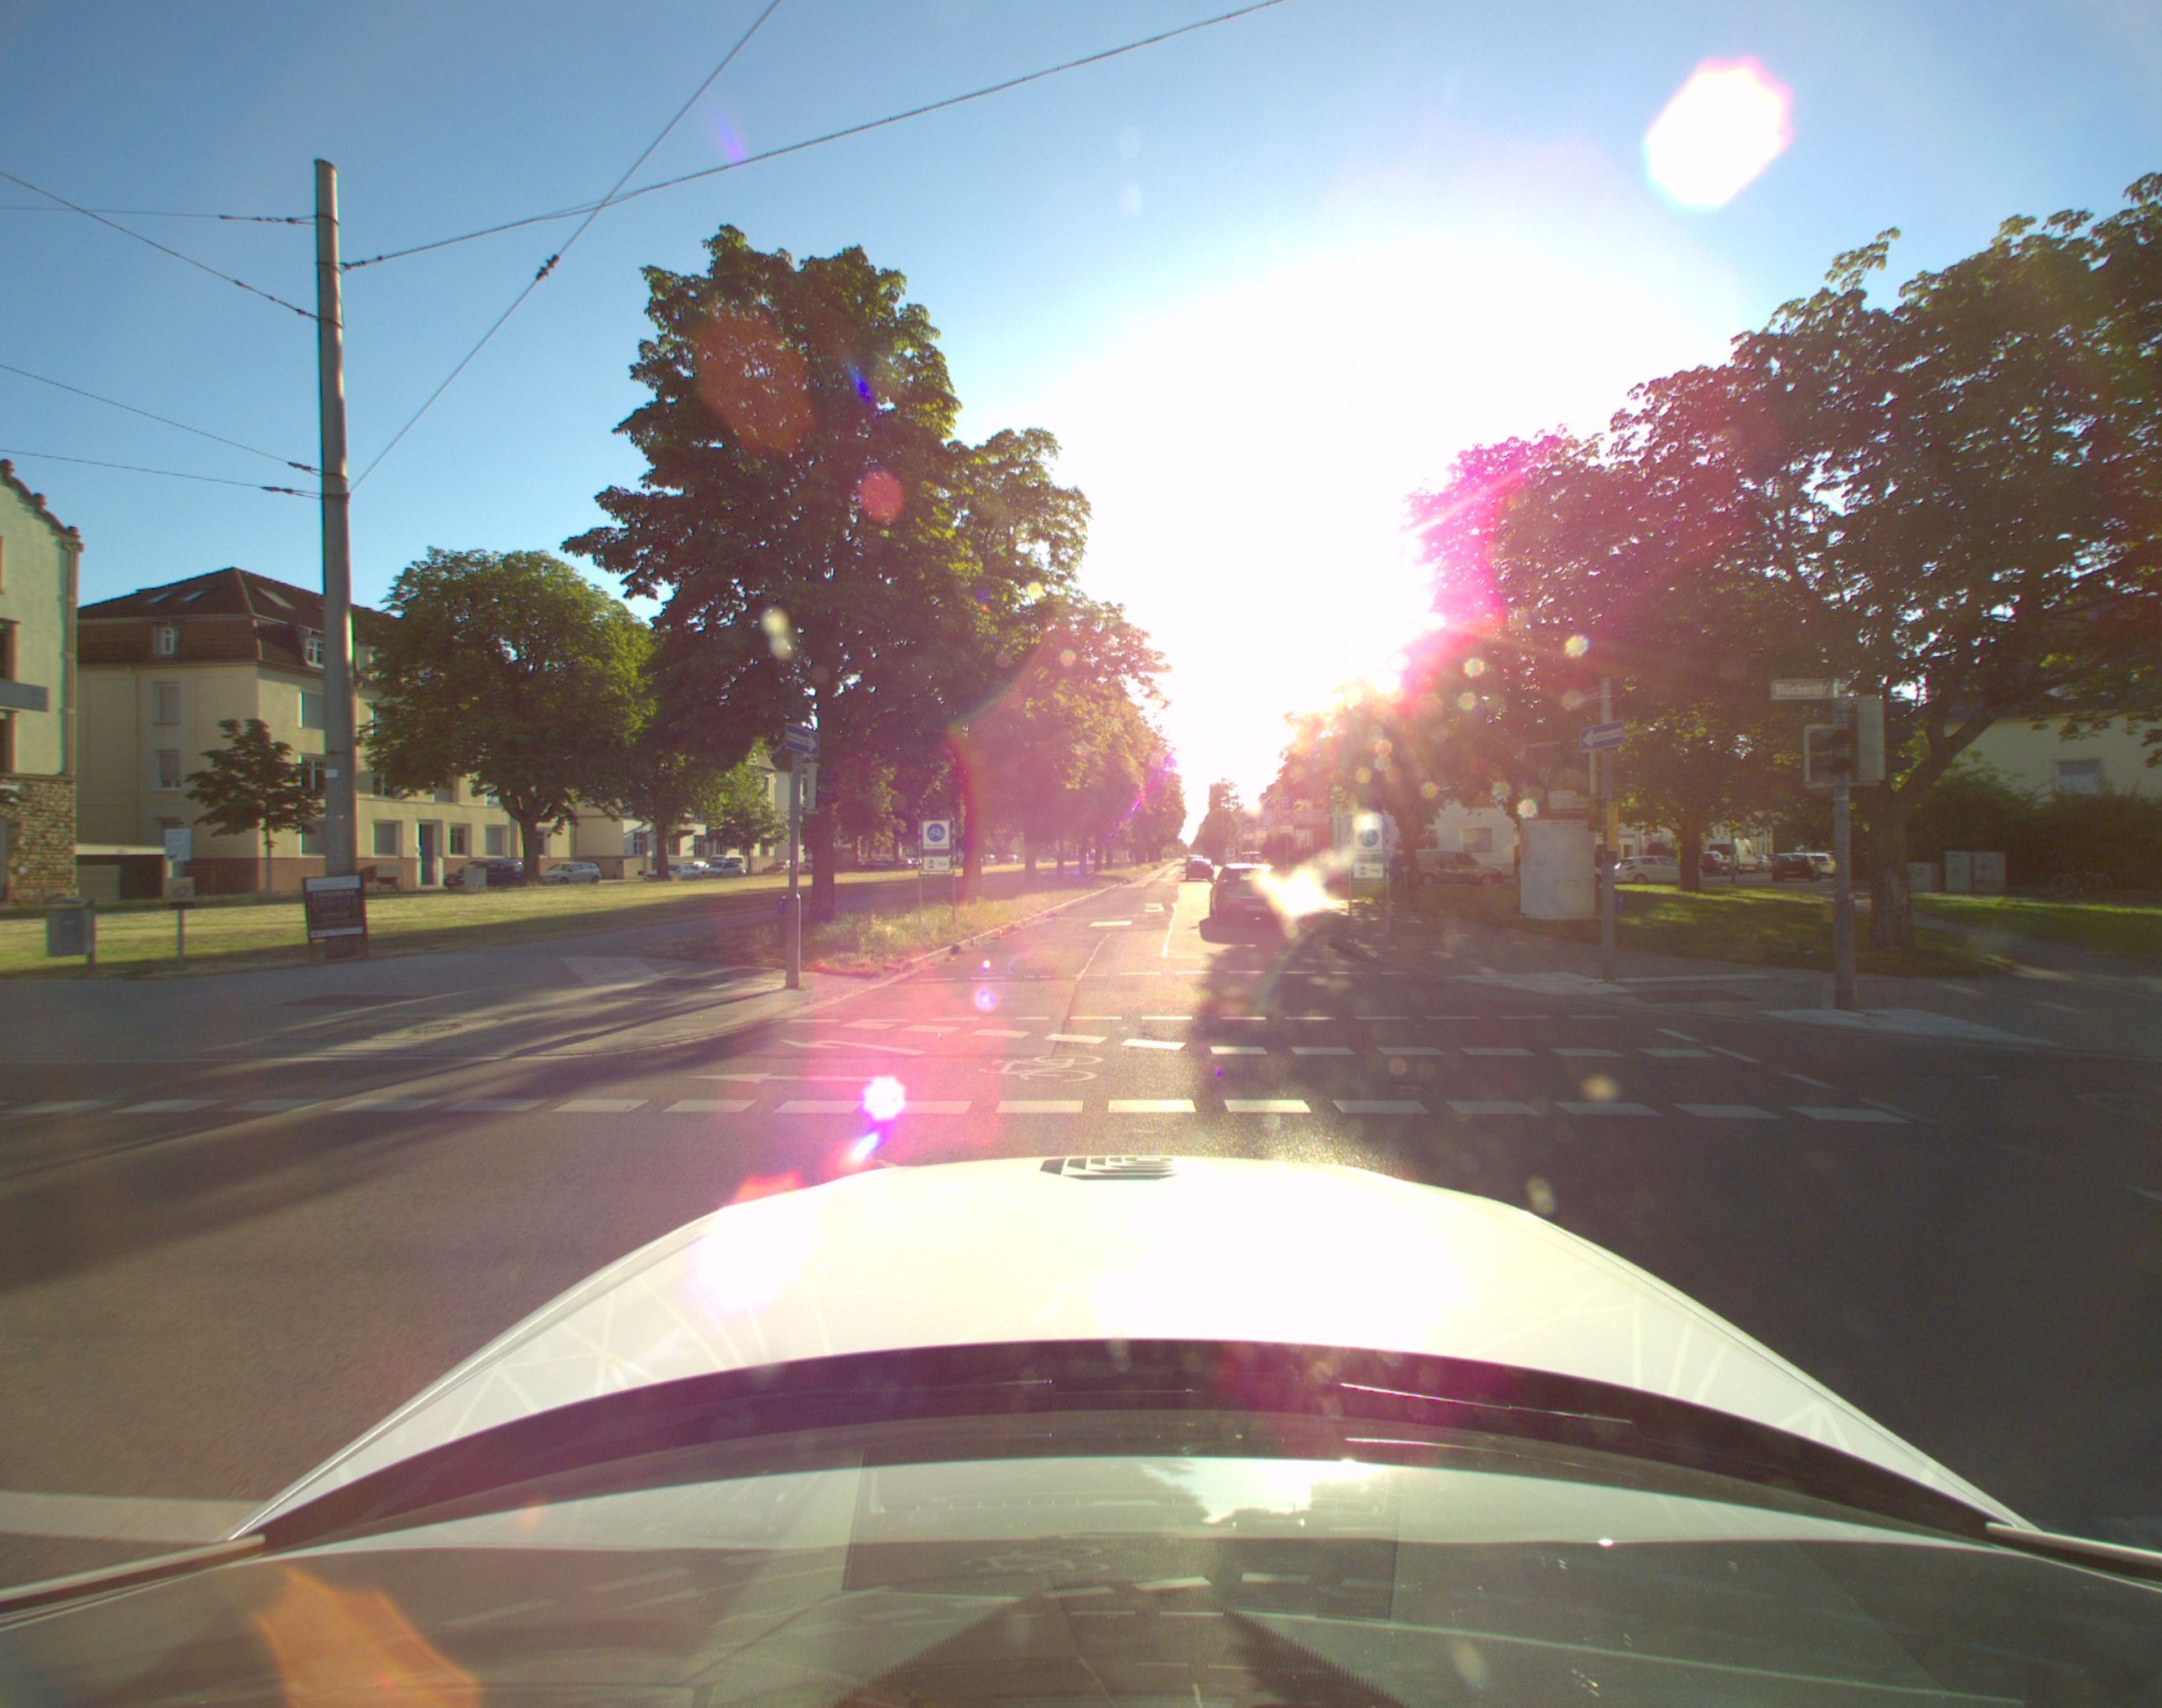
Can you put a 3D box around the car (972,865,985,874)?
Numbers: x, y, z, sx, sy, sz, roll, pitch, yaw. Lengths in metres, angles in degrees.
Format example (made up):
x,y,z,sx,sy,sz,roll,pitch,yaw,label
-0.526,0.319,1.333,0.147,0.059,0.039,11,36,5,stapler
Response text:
x,y,z,sx,sy,sz,roll,pitch,yaw,label
-20.408,3.114,162.046,1.631,1.643,3.860,2,-1,6,car

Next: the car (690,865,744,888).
x,y,z,sx,sy,sz,roll,pitch,yaw,label
-27.965,1.710,62.714,1.787,1.554,4.426,2,0,6,car

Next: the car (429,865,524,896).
x,y,z,sx,sy,sz,roll,pitch,yaw,label
-35.896,1.530,48.515,1.982,1.736,4.322,1,-1,9,car

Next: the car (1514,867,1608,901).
x,y,z,sx,sy,sz,roll,pitch,yaw,label
22.849,1.411,38.831,3.540,1.516,1.606,0,-1,1,car

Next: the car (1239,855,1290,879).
x,y,z,sx,sy,sz,roll,pitch,yaw,label
15.406,1.120,68.487,3.970,1.823,1.760,-1,-6,3,car

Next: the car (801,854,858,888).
x,y,z,sx,sy,sz,roll,pitch,yaw,label
-25.336,1.630,82.501,2.379,3.131,7.870,2,0,8,car

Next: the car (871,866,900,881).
x,y,z,sx,sy,sz,roll,pitch,yaw,label
-23.384,2.309,97.678,1.869,1.674,4.324,1,-1,8,car

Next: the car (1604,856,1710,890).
x,y,z,sx,sy,sz,roll,pitch,yaw,label
27.387,0.902,38.794,3.906,1.524,1.524,1,-2,2,car

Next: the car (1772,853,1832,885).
x,y,z,sx,sy,sz,roll,pitch,yaw,label
38.377,0.772,43.318,4.022,1.552,1.976,-1,0,-42,car

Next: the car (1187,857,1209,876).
x,y,z,sx,sy,sz,roll,pitch,yaw,label
11.377,1.200,79.535,1.983,1.781,4.007,2,0,6,car

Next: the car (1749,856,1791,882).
x,y,z,sx,sy,sz,roll,pitch,yaw,label
55.504,1.195,65.585,4.021,2.014,1.976,2,-1,-42,car

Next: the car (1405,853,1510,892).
x,y,z,sx,sy,sz,roll,pitch,yaw,label
18.304,0.907,39.756,4.219,1.875,2.034,0,-1,7,car

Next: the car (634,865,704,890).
x,y,z,sx,sy,sz,roll,pitch,yaw,label
-28.804,1.603,57.069,1.982,1.659,4.581,1,-1,9,car

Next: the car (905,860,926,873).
x,y,z,sx,sy,sz,roll,pitch,yaw,label
-25.360,1.937,125.061,1.984,2.014,4.006,2,-1,6,car

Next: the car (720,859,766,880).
x,y,z,sx,sy,sz,roll,pitch,yaw,label
-32.065,1.417,77.416,1.983,1.950,4.886,0,-1,6,car

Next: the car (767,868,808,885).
x,y,z,sx,sy,sz,roll,pitch,yaw,label
-30.403,2.329,84.632,1.982,1.659,4.581,1,-1,9,car

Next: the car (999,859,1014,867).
x,y,z,sx,sy,sz,roll,pitch,yaw,label
-15.357,1.885,168.182,1.983,1.659,4.579,0,0,7,car

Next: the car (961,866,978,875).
x,y,z,sx,sy,sz,roll,pitch,yaw,label
-21.221,3.111,154.669,1.982,1.659,4.365,1,-1,9,car

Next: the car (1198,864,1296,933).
x,y,z,sx,sy,sz,roll,pitch,yaw,label
4.060,1.024,20.569,1.718,1.511,4.543,2,-1,3,car

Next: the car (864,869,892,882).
x,y,z,sx,sy,sz,roll,pitch,yaw,label
-27.037,2.885,108.455,1.982,1.659,4.385,1,-1,9,car

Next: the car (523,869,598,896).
x,y,z,sx,sy,sz,roll,pitch,yaw,label
-34.837,1.854,54.604,1.982,1.659,4.010,1,-1,9,car

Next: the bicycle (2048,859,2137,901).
x,y,z,sx,sy,sz,roll,pitch,yaw,label
31.190,0.789,25.155,0.447,1.238,1.956,1,-2,5,bicycle

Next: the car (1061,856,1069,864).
x,y,z,sx,sy,sz,roll,pitch,yaw,label
-4.523,1.720,233.801,1.645,1.938,3.573,1,-2,7,car

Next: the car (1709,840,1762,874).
x,y,z,sx,sy,sz,roll,pitch,yaw,label
47.364,0.224,58.934,4.541,2.337,2.089,2,-1,-39,car

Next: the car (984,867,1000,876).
x,y,z,sx,sy,sz,roll,pitch,yaw,label
-16.220,3.159,148.349,2.011,1.659,3.992,1,-1,8,car

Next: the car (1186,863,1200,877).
x,y,z,sx,sy,sz,roll,pitch,yaw,label
16.846,2.454,122.951,1.983,2.014,4.007,1,-1,6,car

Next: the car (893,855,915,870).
x,y,z,sx,sy,sz,roll,pitch,yaw,label
-25.939,1.232,119.286,1.984,2.014,4.006,2,-1,6,car

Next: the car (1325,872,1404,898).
x,y,z,sx,sy,sz,roll,pitch,yaw,label
16.187,1.780,46.651,3.966,1.447,1.719,0,-1,6,car

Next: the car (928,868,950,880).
x,y,z,sx,sy,sz,roll,pitch,yaw,label
-20.556,2.873,117.923,1.801,1.781,4.131,1,-1,8,car

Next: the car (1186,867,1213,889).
x,y,z,sx,sy,sz,roll,pitch,yaw,label
7.803,1.582,53.858,1.700,1.359,4.211,1,-1,7,car

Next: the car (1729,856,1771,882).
x,y,z,sx,sy,sz,roll,pitch,yaw,label
51.063,1.123,62.121,3.957,1.877,1.893,2,-1,-42,car
